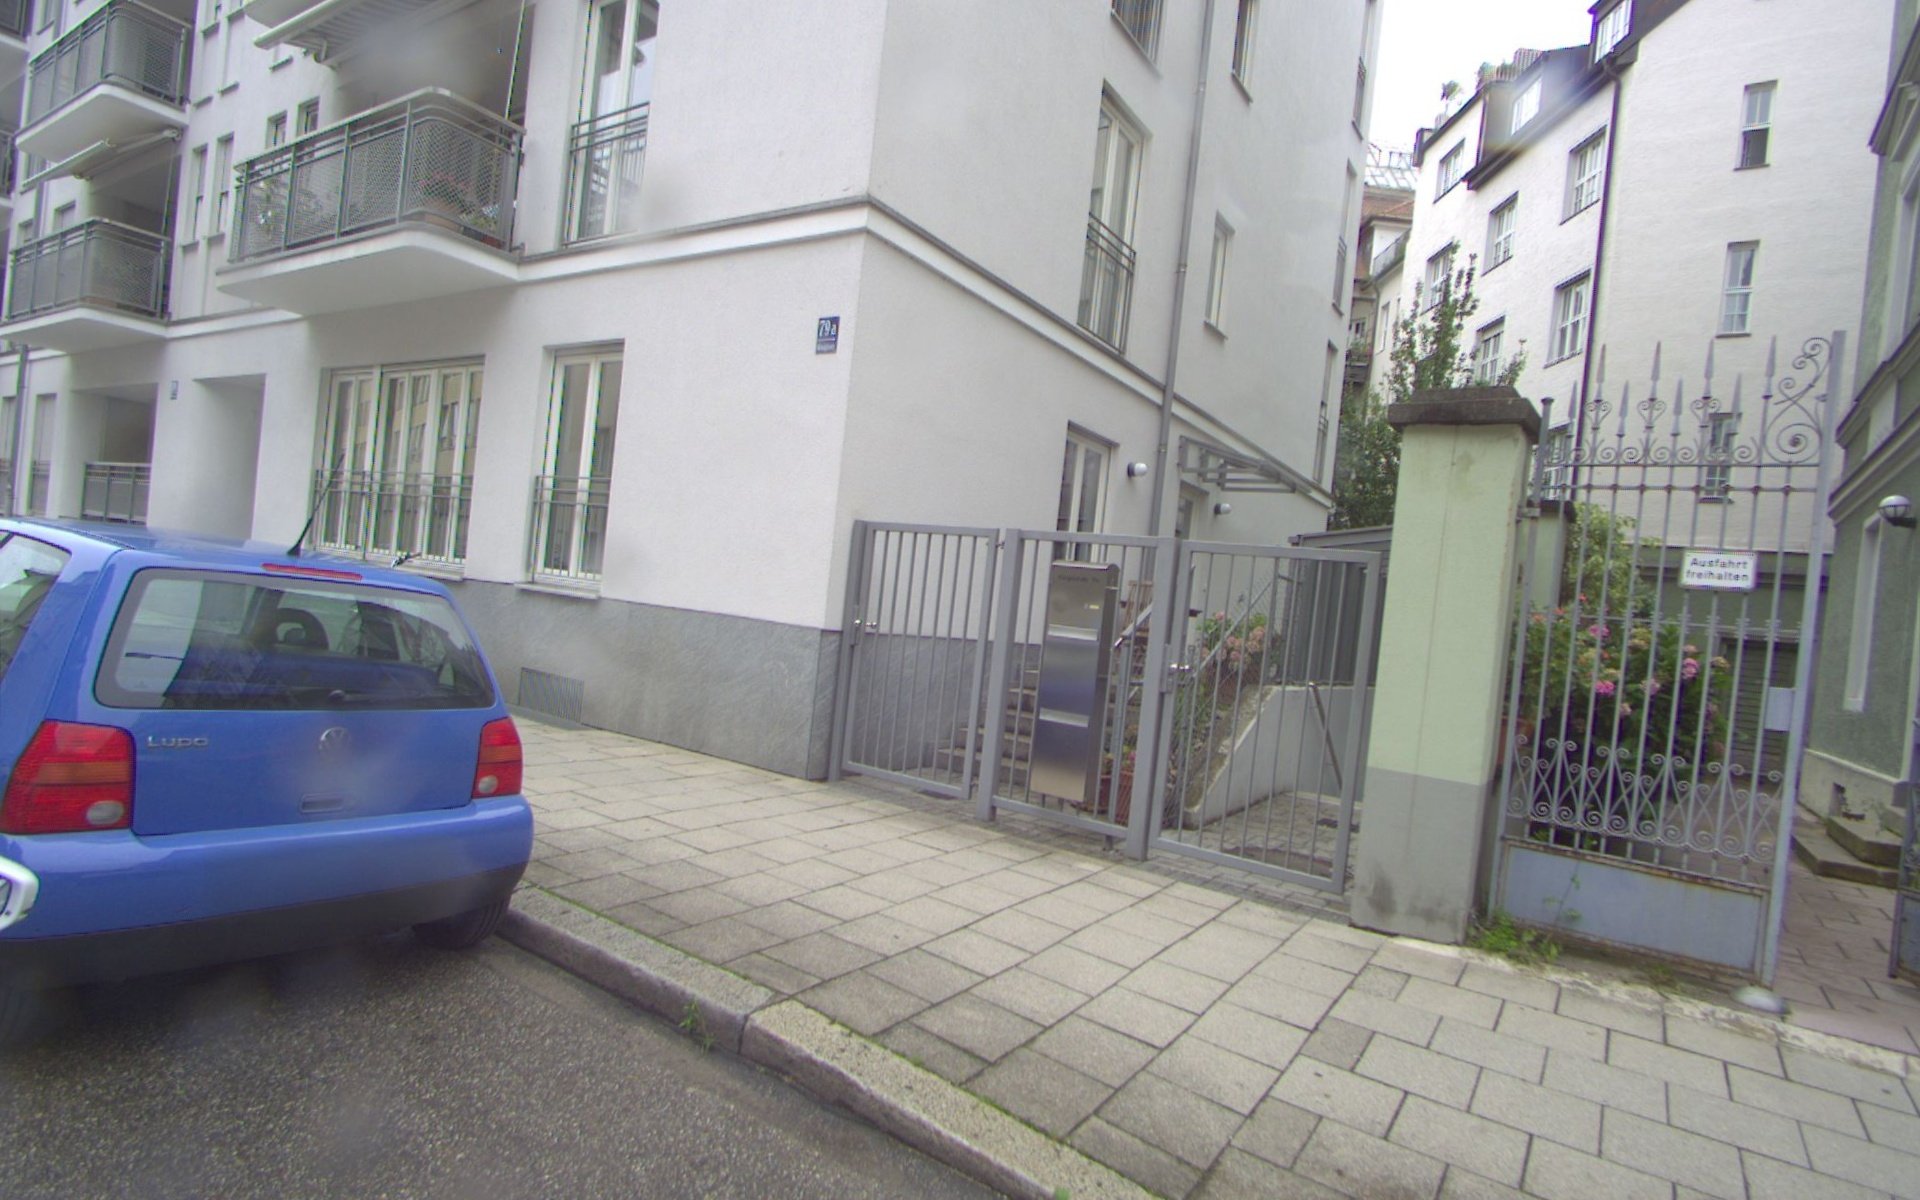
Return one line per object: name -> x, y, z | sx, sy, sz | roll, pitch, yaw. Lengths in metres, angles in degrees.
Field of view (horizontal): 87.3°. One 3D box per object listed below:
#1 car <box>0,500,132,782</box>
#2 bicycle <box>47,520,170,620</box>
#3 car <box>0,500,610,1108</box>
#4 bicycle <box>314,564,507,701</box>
car -> -6.866, -0.010, 6.005 | 4.138, 1.456, 1.661 | 6, -2, 33
bicycle -> -11.754, -0.428, 13.866 | 2.092, 1.175, 0.627 | 6, 1, 32
car -> -3.273, 0.422, 3.964 | 3.495, 1.428, 1.622 | 6, -2, 32
bicycle -> -4.922, 0.267, 8.971 | 1.805, 1.040, 0.678 | 4, 0, 33
